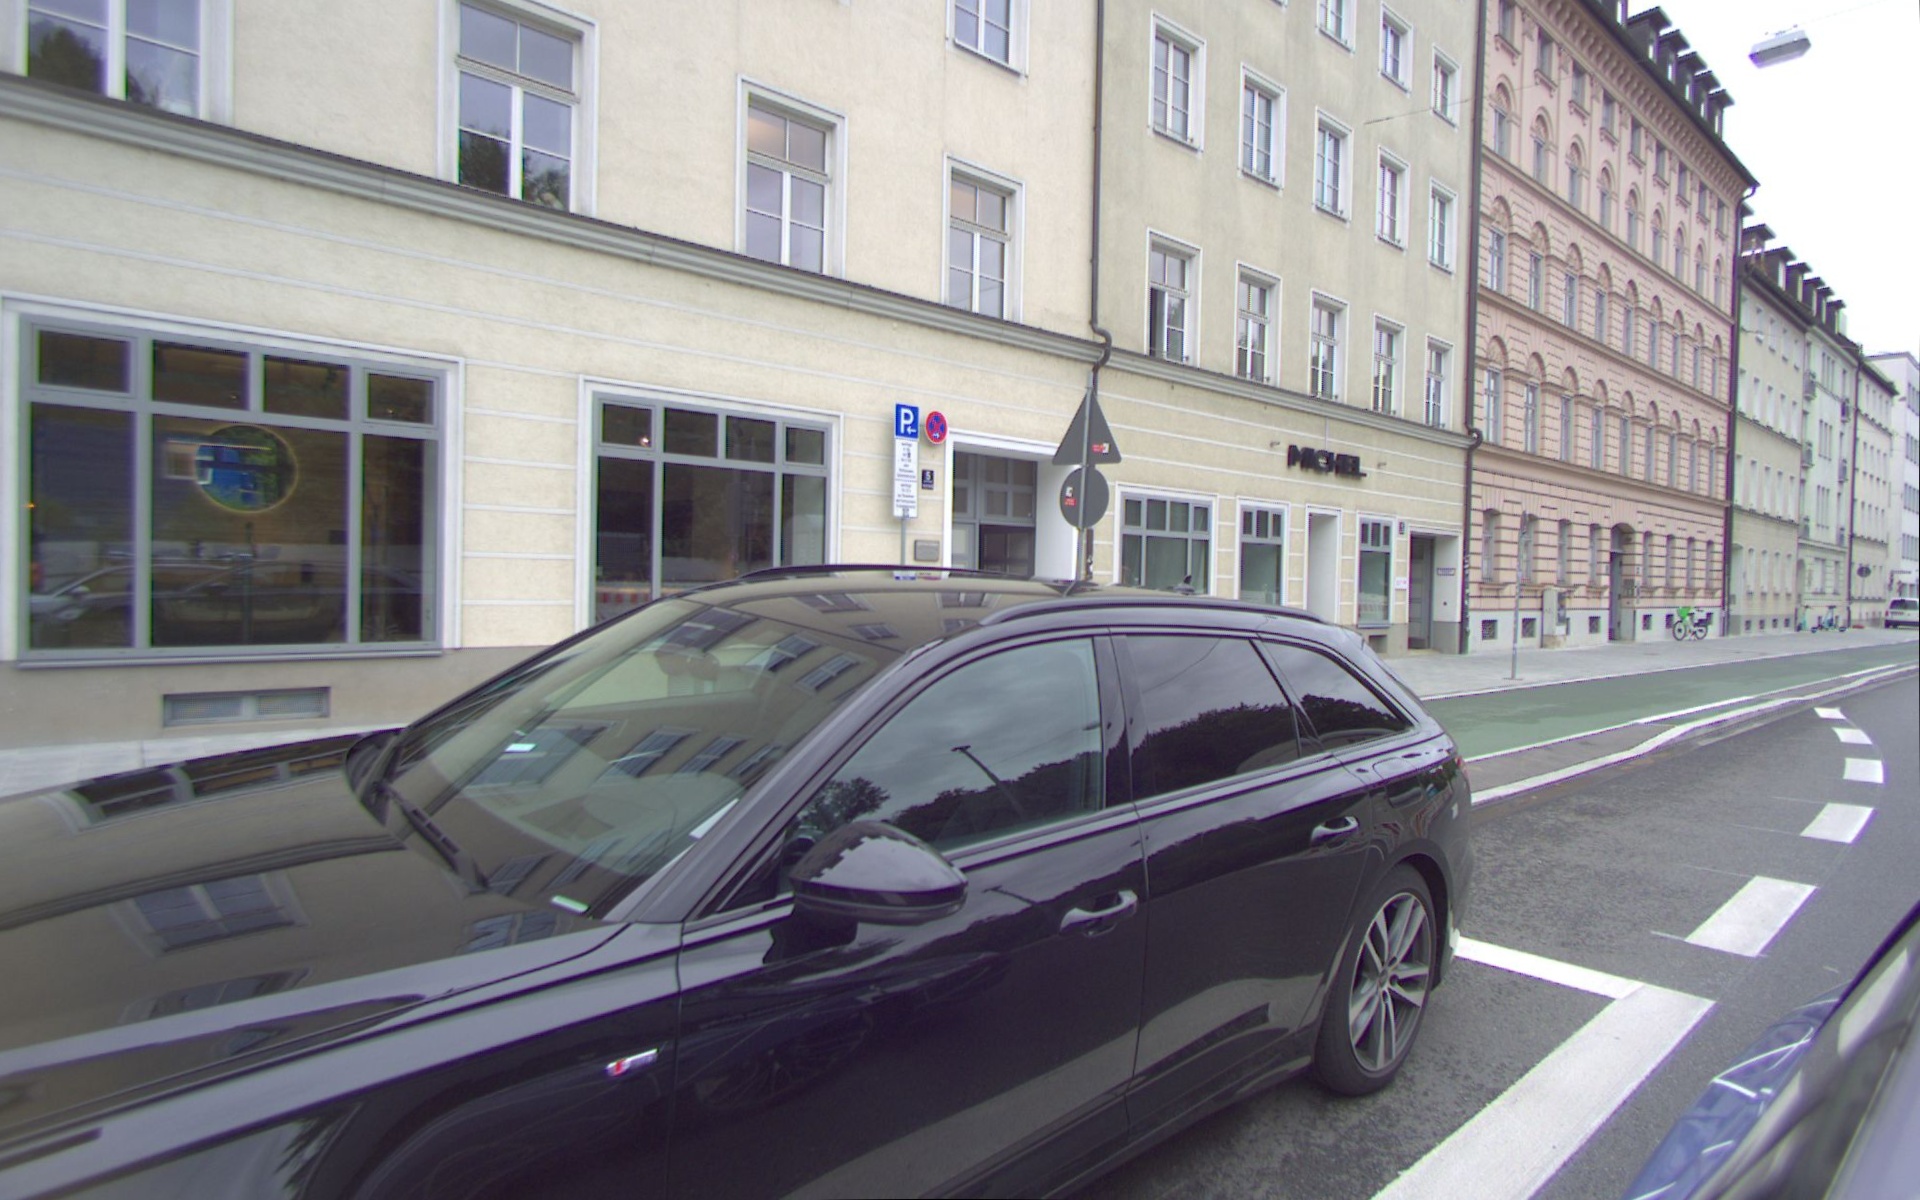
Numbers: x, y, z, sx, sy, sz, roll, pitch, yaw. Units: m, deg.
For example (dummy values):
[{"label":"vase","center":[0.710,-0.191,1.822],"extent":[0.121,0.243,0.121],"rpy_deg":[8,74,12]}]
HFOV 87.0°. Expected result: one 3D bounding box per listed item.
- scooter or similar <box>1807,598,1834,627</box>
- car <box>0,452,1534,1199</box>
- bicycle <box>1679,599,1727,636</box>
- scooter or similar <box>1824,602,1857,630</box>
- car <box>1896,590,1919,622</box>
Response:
[{"label":"scooter or similar","center":[38.746,0.561,45.568],"extent":[1.096,1.246,0.248],"rpy_deg":[1,2,-14]},{"label":"car","center":[-0.305,0.609,2.606],"extent":[4.607,1.498,1.804],"rpy_deg":[0,1,-43]},{"label":"bicycle","center":[24.737,0.583,33.679],"extent":[1.695,1.188,0.428],"rpy_deg":[1,1,-23]},{"label":"scooter or similar","center":[42.240,0.753,48.548],"extent":[1.105,1.246,0.246],"rpy_deg":[3,2,18]},{"label":"car","center":[56.211,0.361,59.048],"extent":[4.356,1.771,1.737],"rpy_deg":[1,2,-40]}]
